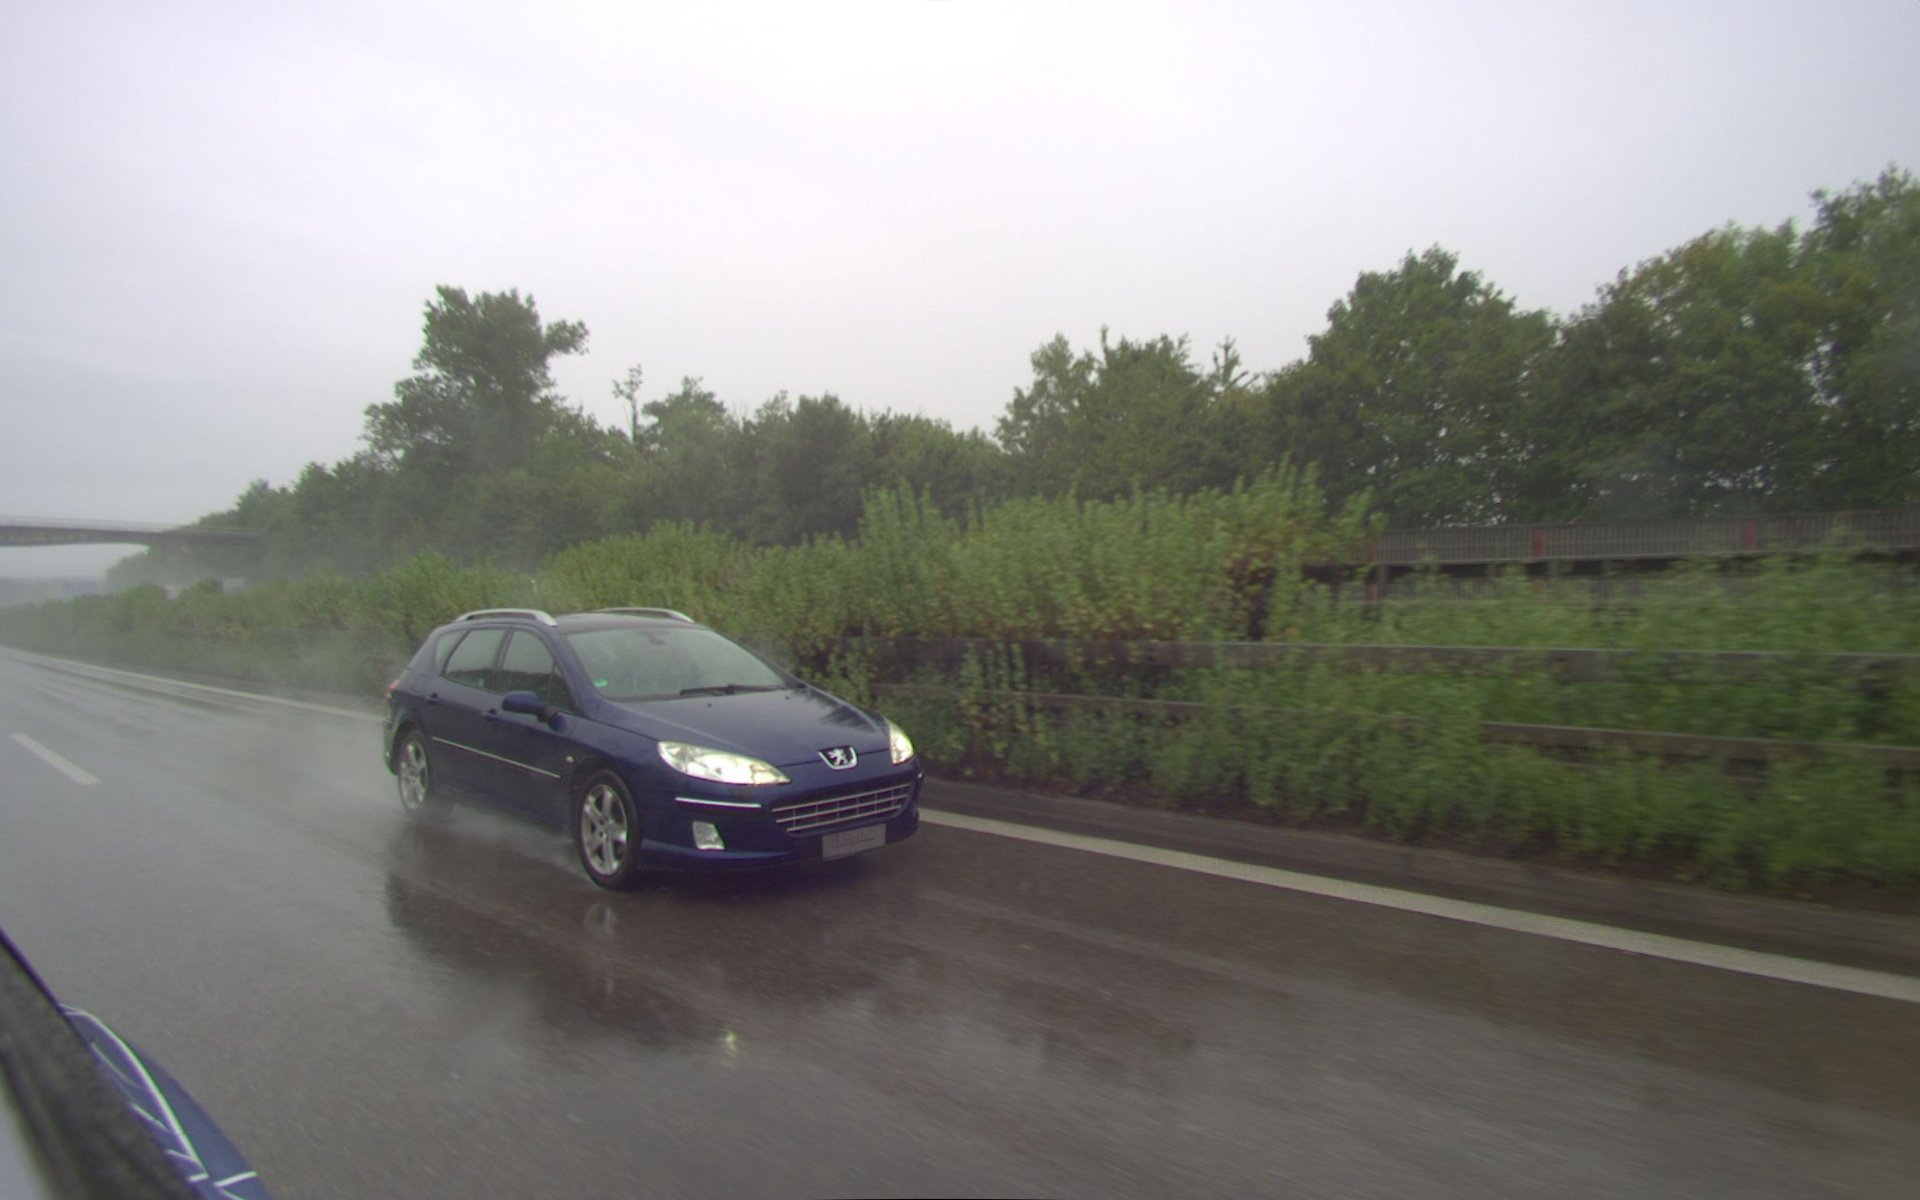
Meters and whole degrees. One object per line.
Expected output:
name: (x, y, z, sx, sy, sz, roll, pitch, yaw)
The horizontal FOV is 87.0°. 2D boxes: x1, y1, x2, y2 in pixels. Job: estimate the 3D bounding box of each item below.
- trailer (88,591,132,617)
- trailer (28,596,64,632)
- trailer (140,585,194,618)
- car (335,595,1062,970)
trailer: (-116.355, 0.564, 138.452, 11.549, 3.410, 3.390, -2, -1, 44)
trailer: (-144.050, 2.208, 159.406, 11.549, 5.499, 3.390, -2, -1, 44)
trailer: (-61.761, 0.143, 78.749, 6.647, 2.446, 2.246, -1, 0, 43)
car: (-2.036, 0.761, 6.553, 5.156, 1.496, 2.033, -1, 0, 42)
